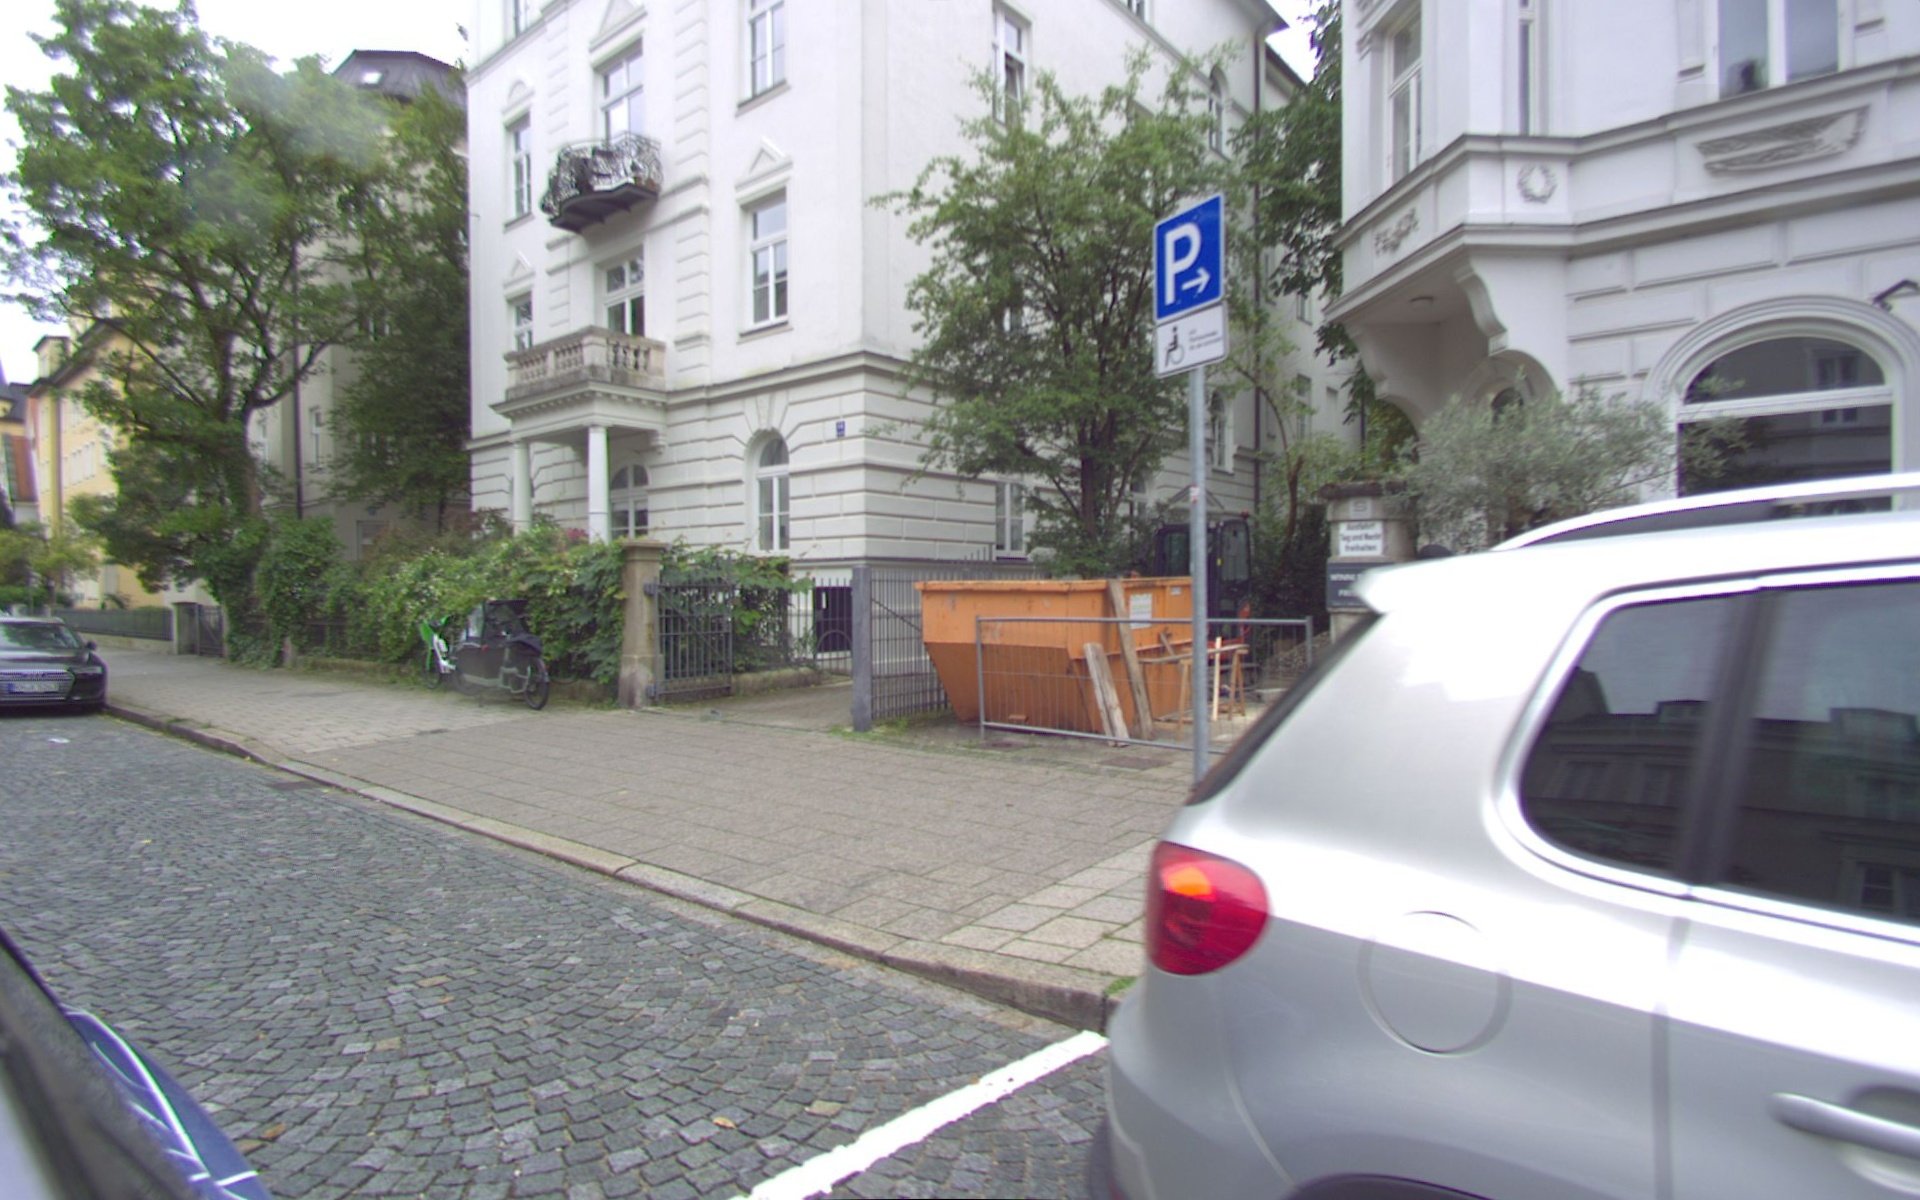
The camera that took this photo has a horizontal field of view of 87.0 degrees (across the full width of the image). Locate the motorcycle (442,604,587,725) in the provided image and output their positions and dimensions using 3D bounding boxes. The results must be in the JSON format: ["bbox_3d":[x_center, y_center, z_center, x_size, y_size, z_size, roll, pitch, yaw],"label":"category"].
[{"bbox_3d":[-5.850,0.782,13.233,2.242,1.439,0.729,0,2,38],"label":"motorcycle"}]

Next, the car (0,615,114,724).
[{"bbox_3d":[-14.566,0.962,15.325,4.805,1.430,1.862,0,-2,40],"label":"car"}]

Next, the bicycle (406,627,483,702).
[{"bbox_3d":[-7.920,0.969,15.519,1.742,1.058,0.353,0,1,38],"label":"bicycle"}]

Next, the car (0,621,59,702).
[{"bbox_3d":[-18.082,1.087,18.473,3.998,1.342,1.973,-1,0,41],"label":"car"}]

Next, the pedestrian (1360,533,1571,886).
[{"bbox_3d":[2.532,0.501,5.114,0.655,1.640,0.671,-1,0,-18],"label":"pedestrian"}]

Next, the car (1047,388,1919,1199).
[{"bbox_3d":[2.230,0.586,0.880,4.064,1.584,1.673,0,1,39],"label":"car"}]

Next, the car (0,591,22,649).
[{"bbox_3d":[-35.167,0.706,36.339,3.998,2.029,1.740,0,1,41],"label":"car"}]
